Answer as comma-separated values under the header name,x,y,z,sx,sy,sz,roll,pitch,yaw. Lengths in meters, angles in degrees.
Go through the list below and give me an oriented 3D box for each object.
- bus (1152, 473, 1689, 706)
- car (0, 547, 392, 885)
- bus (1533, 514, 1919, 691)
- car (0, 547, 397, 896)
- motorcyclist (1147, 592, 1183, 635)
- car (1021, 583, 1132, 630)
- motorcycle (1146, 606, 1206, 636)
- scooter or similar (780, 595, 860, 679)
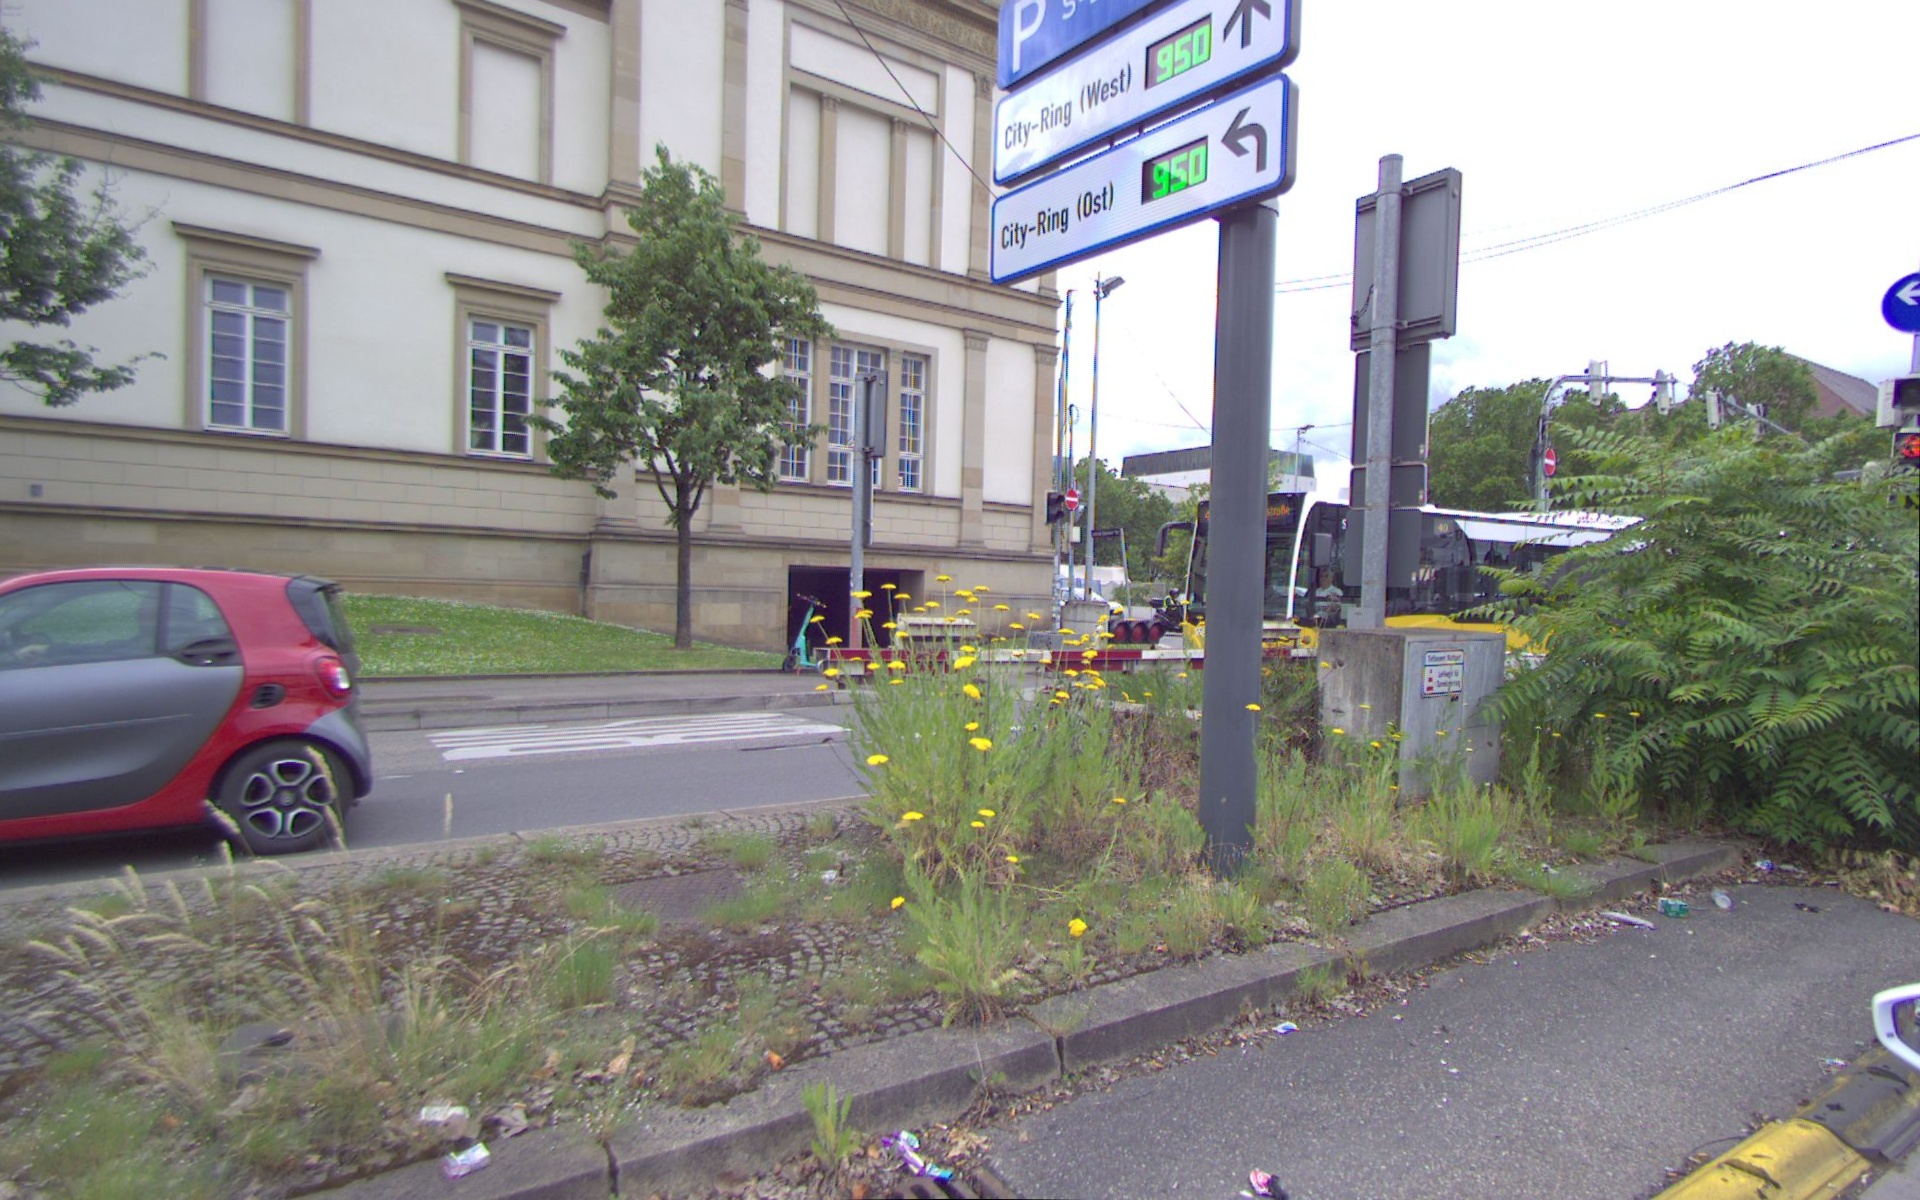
name,x,y,z,sx,sy,sz,roll,pitch,yaw
bus,8.042,-0.079,17.032,9.621,3.156,2.835,1,1,-27
car,-4.723,0.537,5.394,2.794,1.572,1.525,1,0,-34
bus,16.417,0.102,21.281,9.002,3.156,2.836,1,1,-26
car,-5.150,0.556,5.153,3.841,1.612,1.653,1,-1,-34
motorcyclist,7.123,0.465,34.985,0.739,1.442,0.958,1,1,-36
car,4.505,0.213,39.509,1.980,1.698,4.283,1,1,-35
motorcycle,7.410,0.716,34.590,0.750,0.937,2.041,1,1,-36
scooter or similar,-2.222,0.581,15.878,1.132,1.190,0.540,6,0,-11
